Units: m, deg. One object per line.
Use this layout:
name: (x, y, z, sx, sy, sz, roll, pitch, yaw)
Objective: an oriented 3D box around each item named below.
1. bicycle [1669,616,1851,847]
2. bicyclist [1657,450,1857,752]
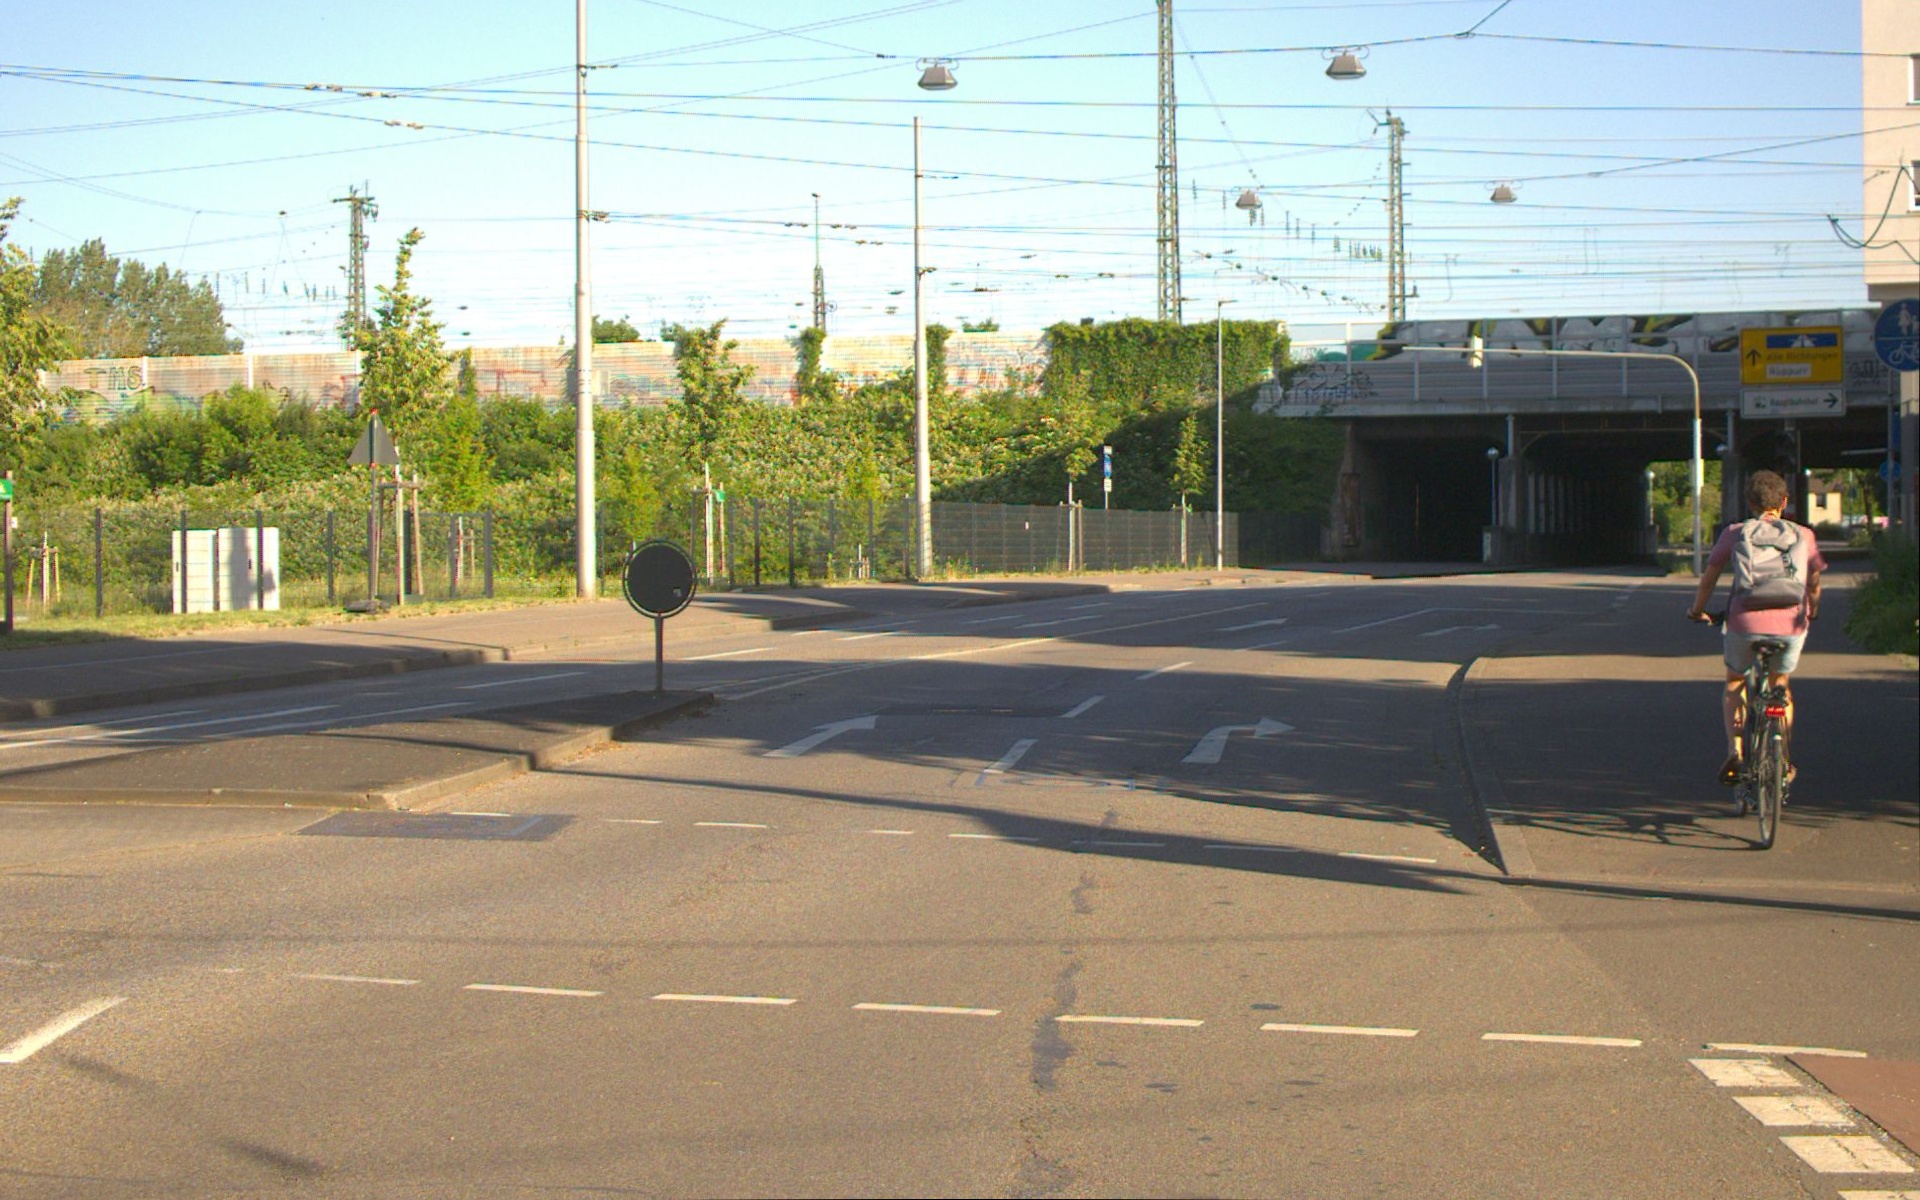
bicycle: (4.137, 0.653, 17.900, 0.667, 1.056, 2.082, -1, 2, 6)
bicyclist: (4.134, -0.014, 17.918, 0.840, 1.504, 1.368, -1, 2, 6)
